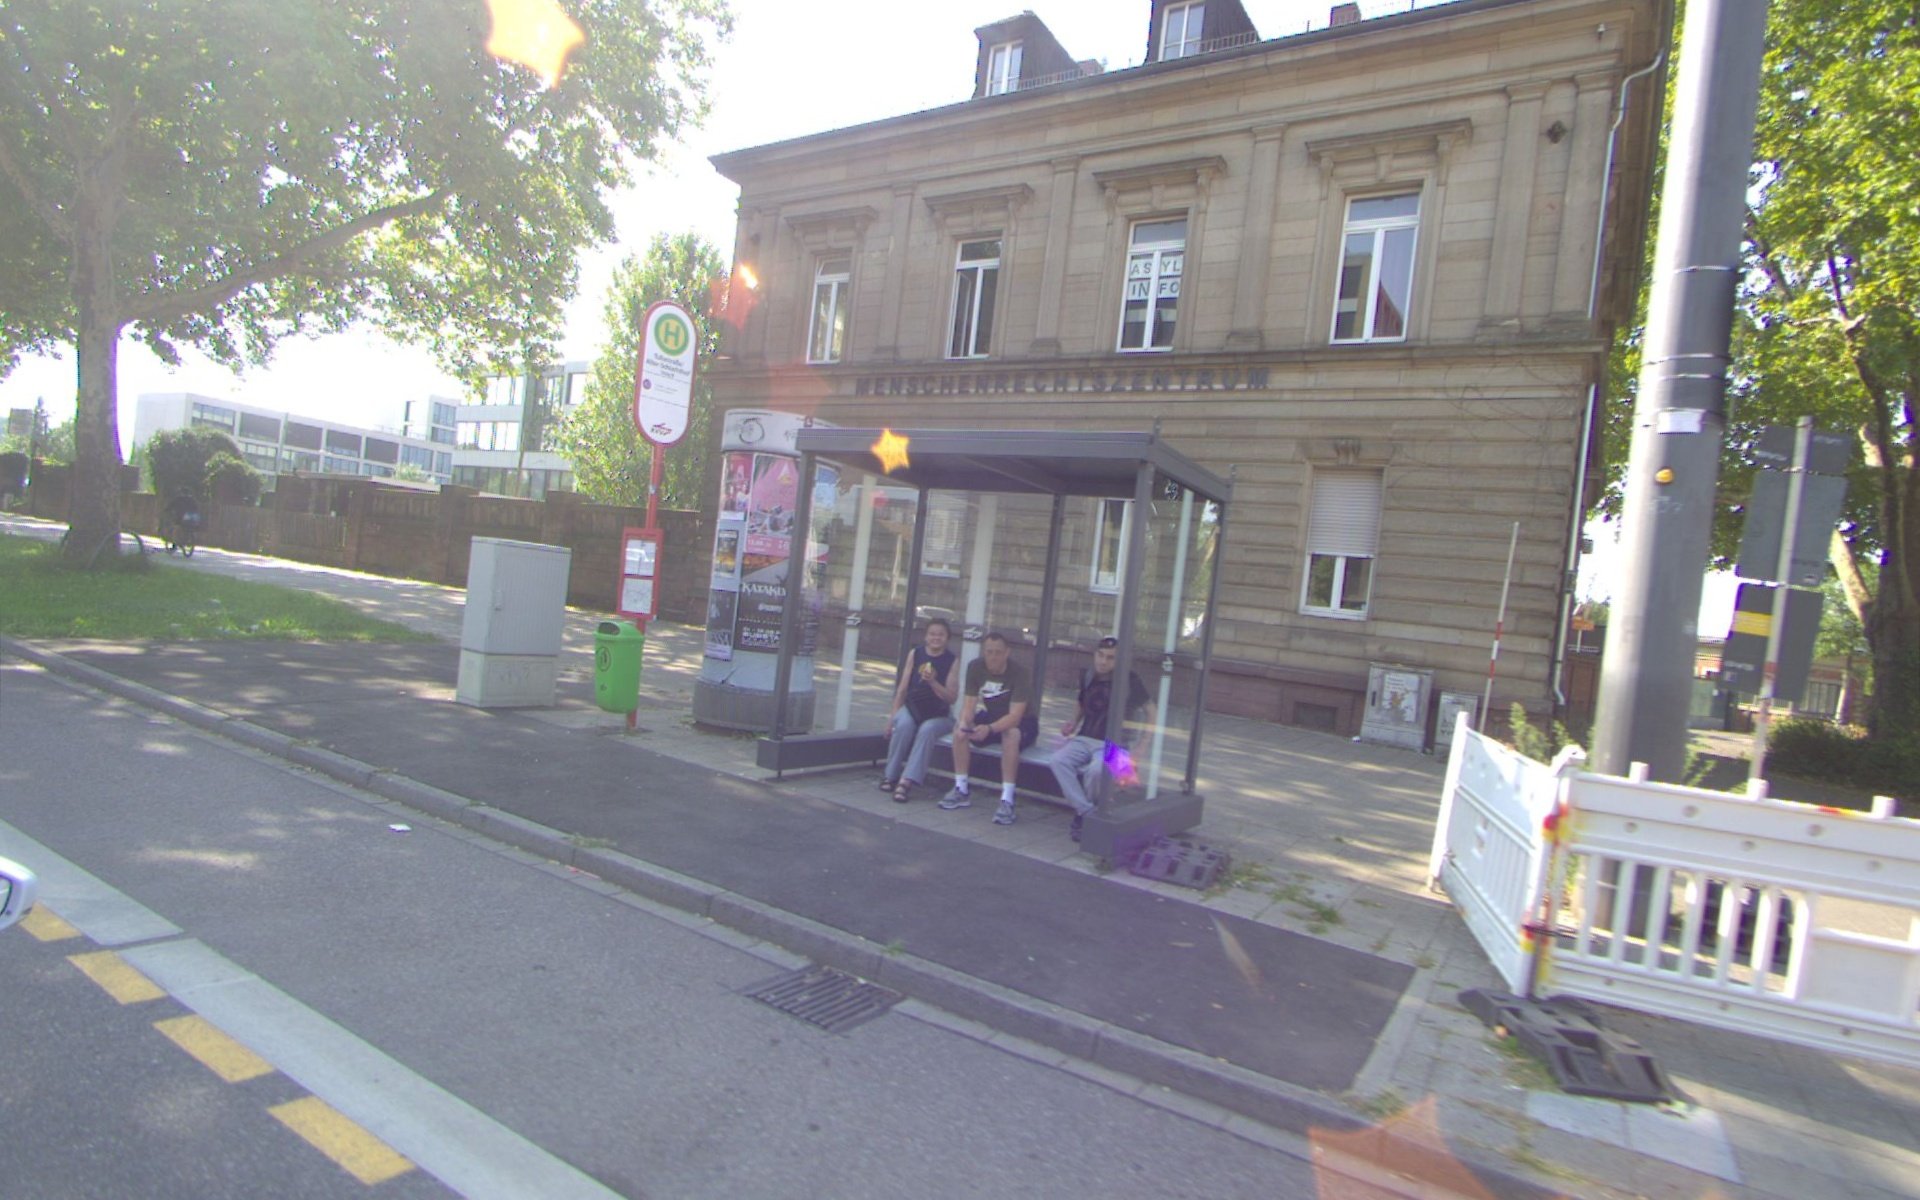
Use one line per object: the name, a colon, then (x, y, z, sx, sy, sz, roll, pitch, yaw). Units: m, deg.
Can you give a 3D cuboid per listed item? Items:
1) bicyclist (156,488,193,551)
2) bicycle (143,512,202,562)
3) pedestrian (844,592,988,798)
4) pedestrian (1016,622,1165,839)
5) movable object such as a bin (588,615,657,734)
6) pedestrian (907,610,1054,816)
bicyclist: (-20.390, -2.089, 26.123, 0.586, 1.559, 0.469, 7, 1, 29)
bicycle: (-20.542, -1.645, 26.236, 1.826, 1.102, 0.492, 7, 1, 30)
pedestrian: (-0.313, 0.684, 7.422, 0.601, 1.382, 0.751, 6, -1, 32)
pedestrian: (0.871, 0.833, 6.621, 0.601, 1.276, 0.742, 6, -1, 32)
movable object such as a bin: (-2.793, 0.609, 8.318, 0.379, 0.927, 0.271, 7, 1, 30)
pedestrian: (0.153, 0.760, 6.935, 0.601, 1.276, 0.742, 6, -1, 32)
